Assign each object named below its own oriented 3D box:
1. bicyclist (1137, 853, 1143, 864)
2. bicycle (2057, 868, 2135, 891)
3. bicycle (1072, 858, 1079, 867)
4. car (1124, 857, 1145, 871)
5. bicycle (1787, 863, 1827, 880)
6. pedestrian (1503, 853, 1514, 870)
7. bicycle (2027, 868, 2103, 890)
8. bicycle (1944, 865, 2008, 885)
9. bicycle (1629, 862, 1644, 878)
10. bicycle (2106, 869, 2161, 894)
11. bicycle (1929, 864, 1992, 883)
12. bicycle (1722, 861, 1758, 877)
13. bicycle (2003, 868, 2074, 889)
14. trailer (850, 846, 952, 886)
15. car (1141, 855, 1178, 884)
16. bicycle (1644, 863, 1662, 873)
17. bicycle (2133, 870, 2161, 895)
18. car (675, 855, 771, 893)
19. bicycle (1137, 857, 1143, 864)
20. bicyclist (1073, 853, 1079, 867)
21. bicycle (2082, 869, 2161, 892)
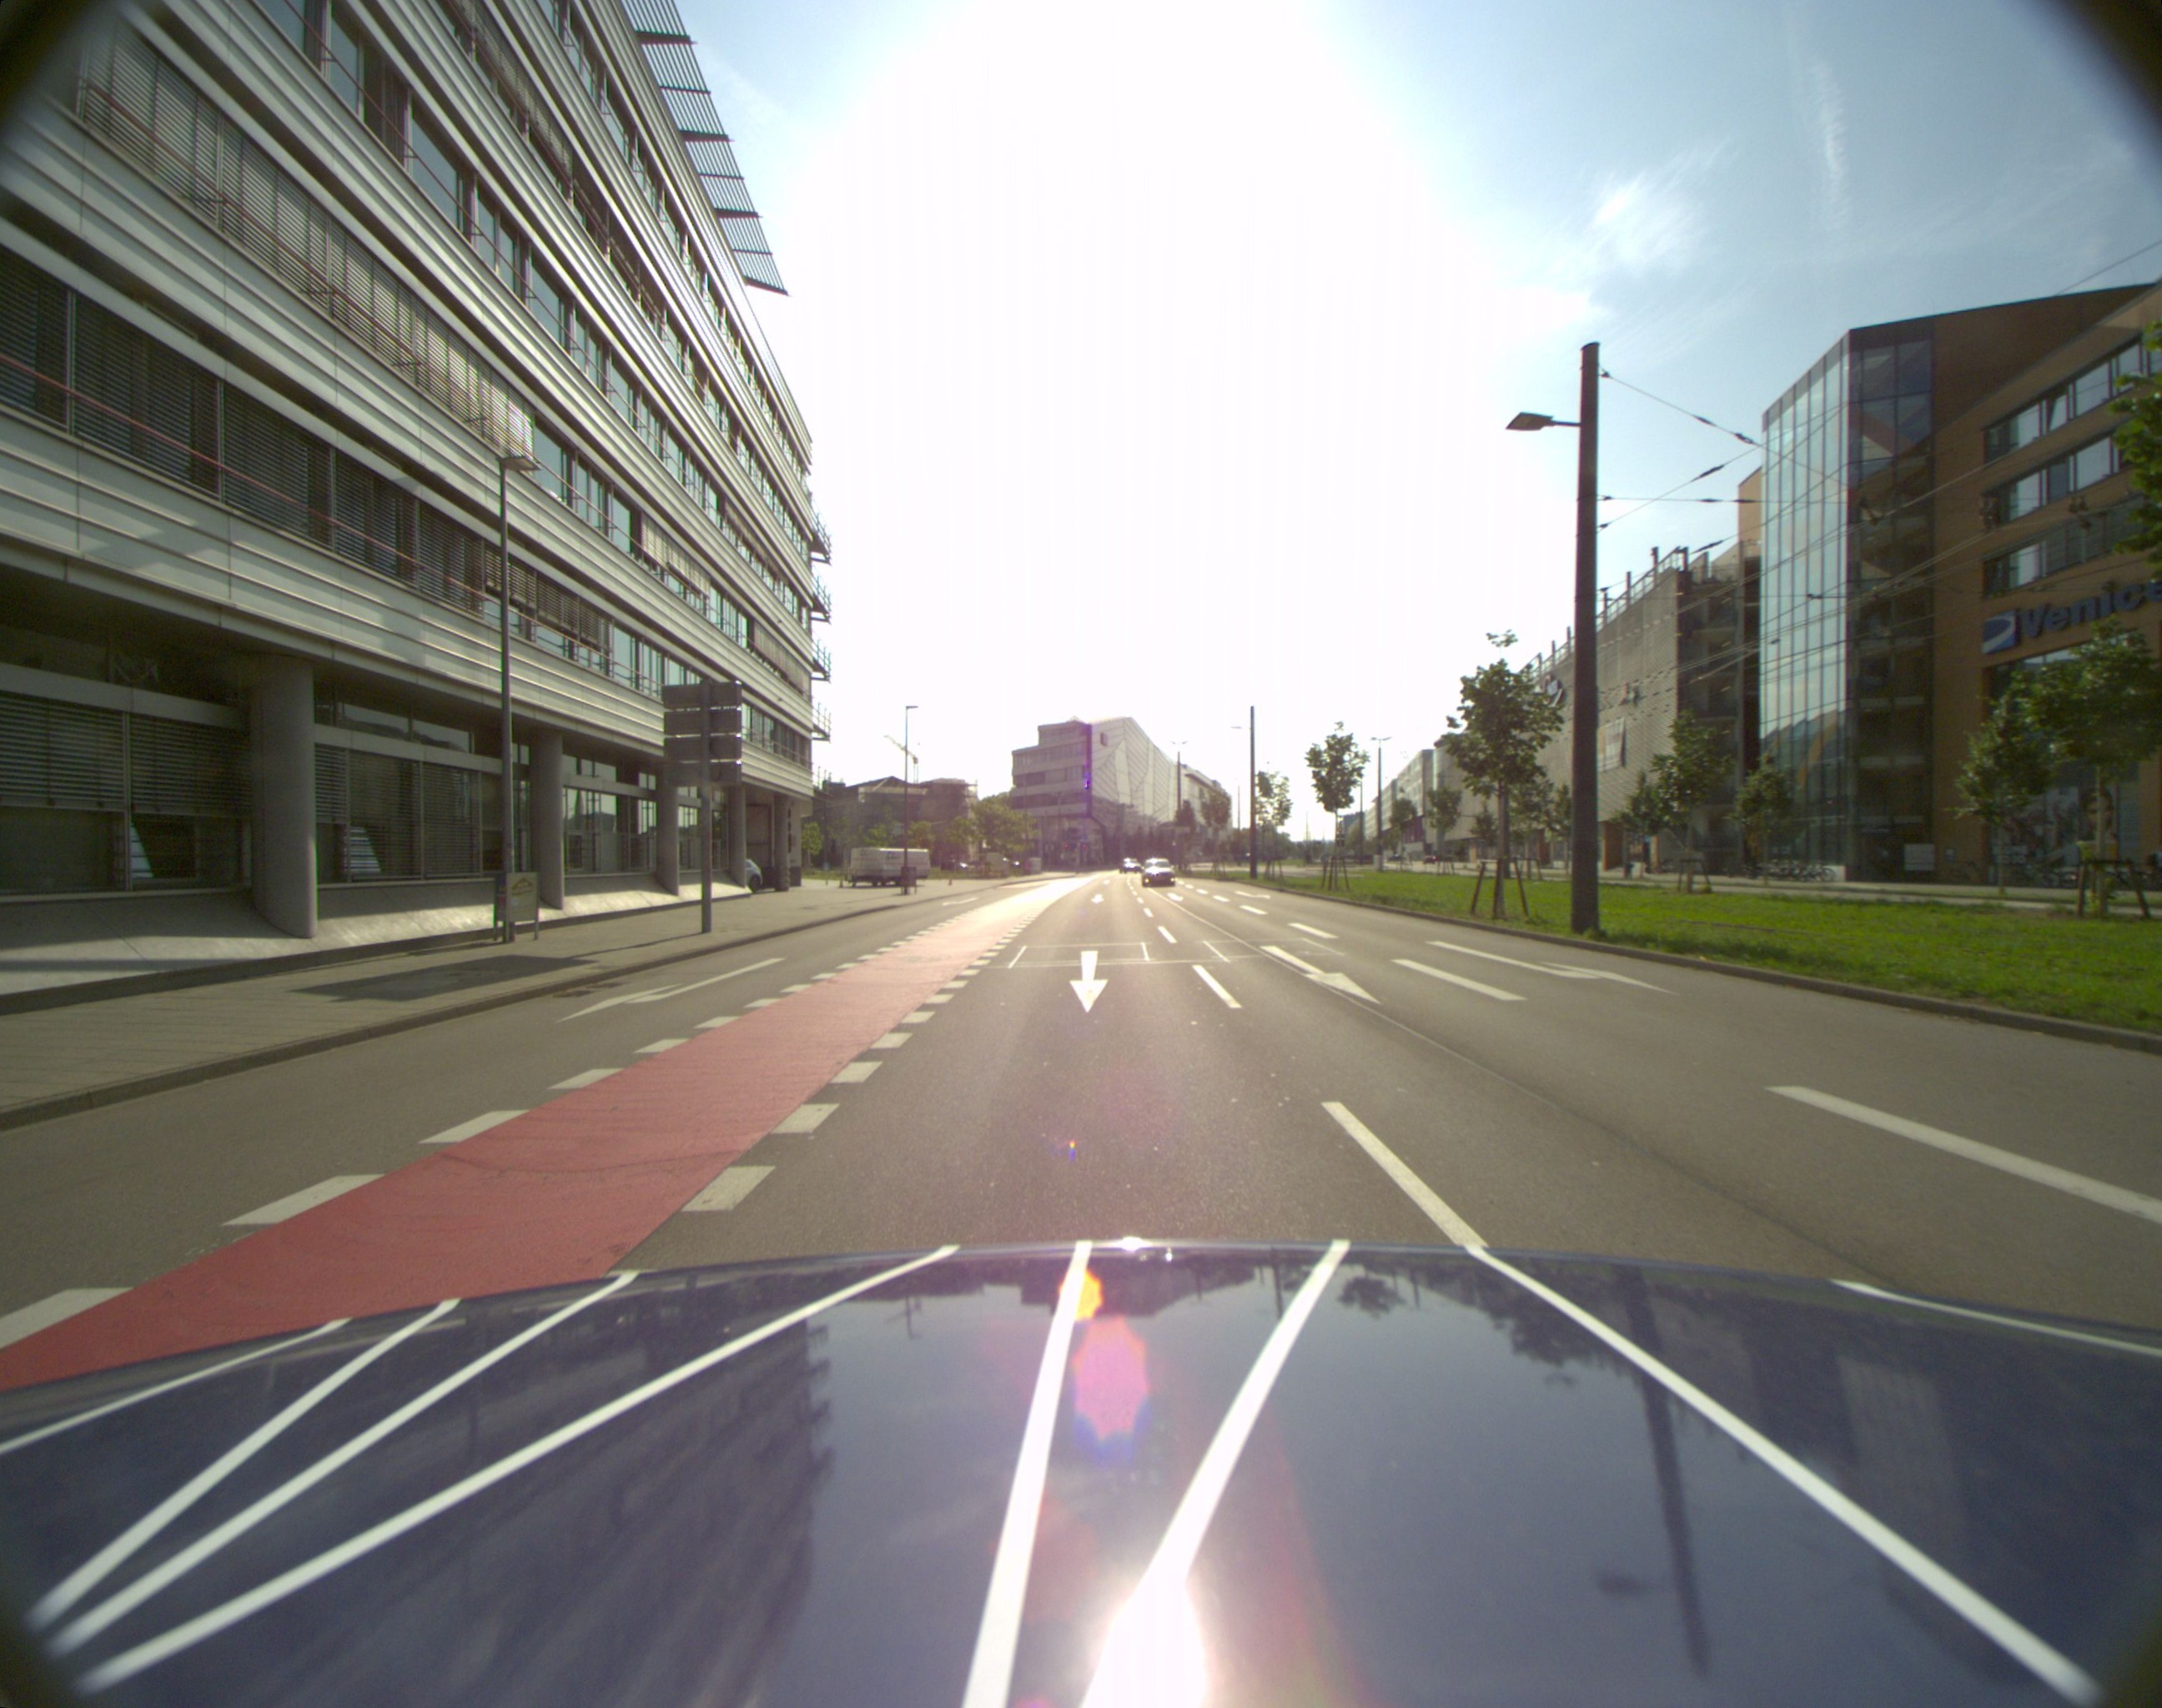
[{"bbox_3d":[9.262,0.719,119.269,0.781,1.577,0.933,1,2,23],"label":"bicyclist"},{"bbox_3d":[41.182,1.016,30.845,2.051,0.916,0.574,0,1,11],"label":"bicycle"},{"bbox_3d":[-0.673,1.078,97.958,0.669,1.092,1.805,0,2,6],"label":"bicycle"},{"bbox_3d":[5.317,0.981,75.423,1.587,1.335,3.163,0,0,-5],"label":"car"},{"bbox_3d":[40.078,0.946,41.949,1.581,0.935,0.411,0,1,16],"label":"bicycle"},{"bbox_3d":[40.427,0.702,71.795,0.762,1.570,0.590,0,1,12],"label":"pedestrian"},{"bbox_3d":[41.235,1.044,31.855,2.051,0.916,0.574,0,1,11],"label":"bicycle"},{"bbox_3d":[42.213,0.970,35.845,2.051,0.916,0.574,0,1,11],"label":"bicycle"},{"bbox_3d":[37.529,1.079,51.329,0.444,0.982,2.167,1,2,26],"label":"bicycle"},{"bbox_3d":[40.915,1.059,29.152,2.051,0.916,0.574,0,1,11],"label":"bicycle"},{"bbox_3d":[42.330,0.949,36.573,2.051,0.916,0.574,0,1,11],"label":"bicycle"},{"bbox_3d":[39.677,0.902,45.755,1.581,0.935,0.473,0,1,16],"label":"bicycle"},{"bbox_3d":[41.542,1.053,32.981,2.051,0.916,0.574,0,1,11],"label":"bicycle"},{"bbox_3d":[-10.308,0.638,44.081,2.390,2.138,5.960,0,0,28],"label":"trailer"},{"bbox_3d":[4.186,0.802,41.021,1.643,1.411,3.895,0,0,1],"label":"car"},{"bbox_3d":[43.108,1.043,57.228,1.004,0.747,0.453,0,0,18],"label":"bicycle"},{"bbox_3d":[40.739,1.064,28.250,2.051,0.916,0.574,0,1,11],"label":"bicycle"},{"bbox_3d":[-15.444,0.848,33.027,1.747,1.580,4.004,0,-1,11],"label":"car"},{"bbox_3d":[9.244,1.029,119.303,0.418,1.050,1.962,1,2,23],"label":"bicycle"},{"bbox_3d":[-0.665,0.786,98.044,0.669,1.693,0.637,0,2,6],"label":"bicyclist"},{"bbox_3d":[41.073,1.042,29.979,2.051,0.916,0.574,0,1,11],"label":"bicycle"}]
